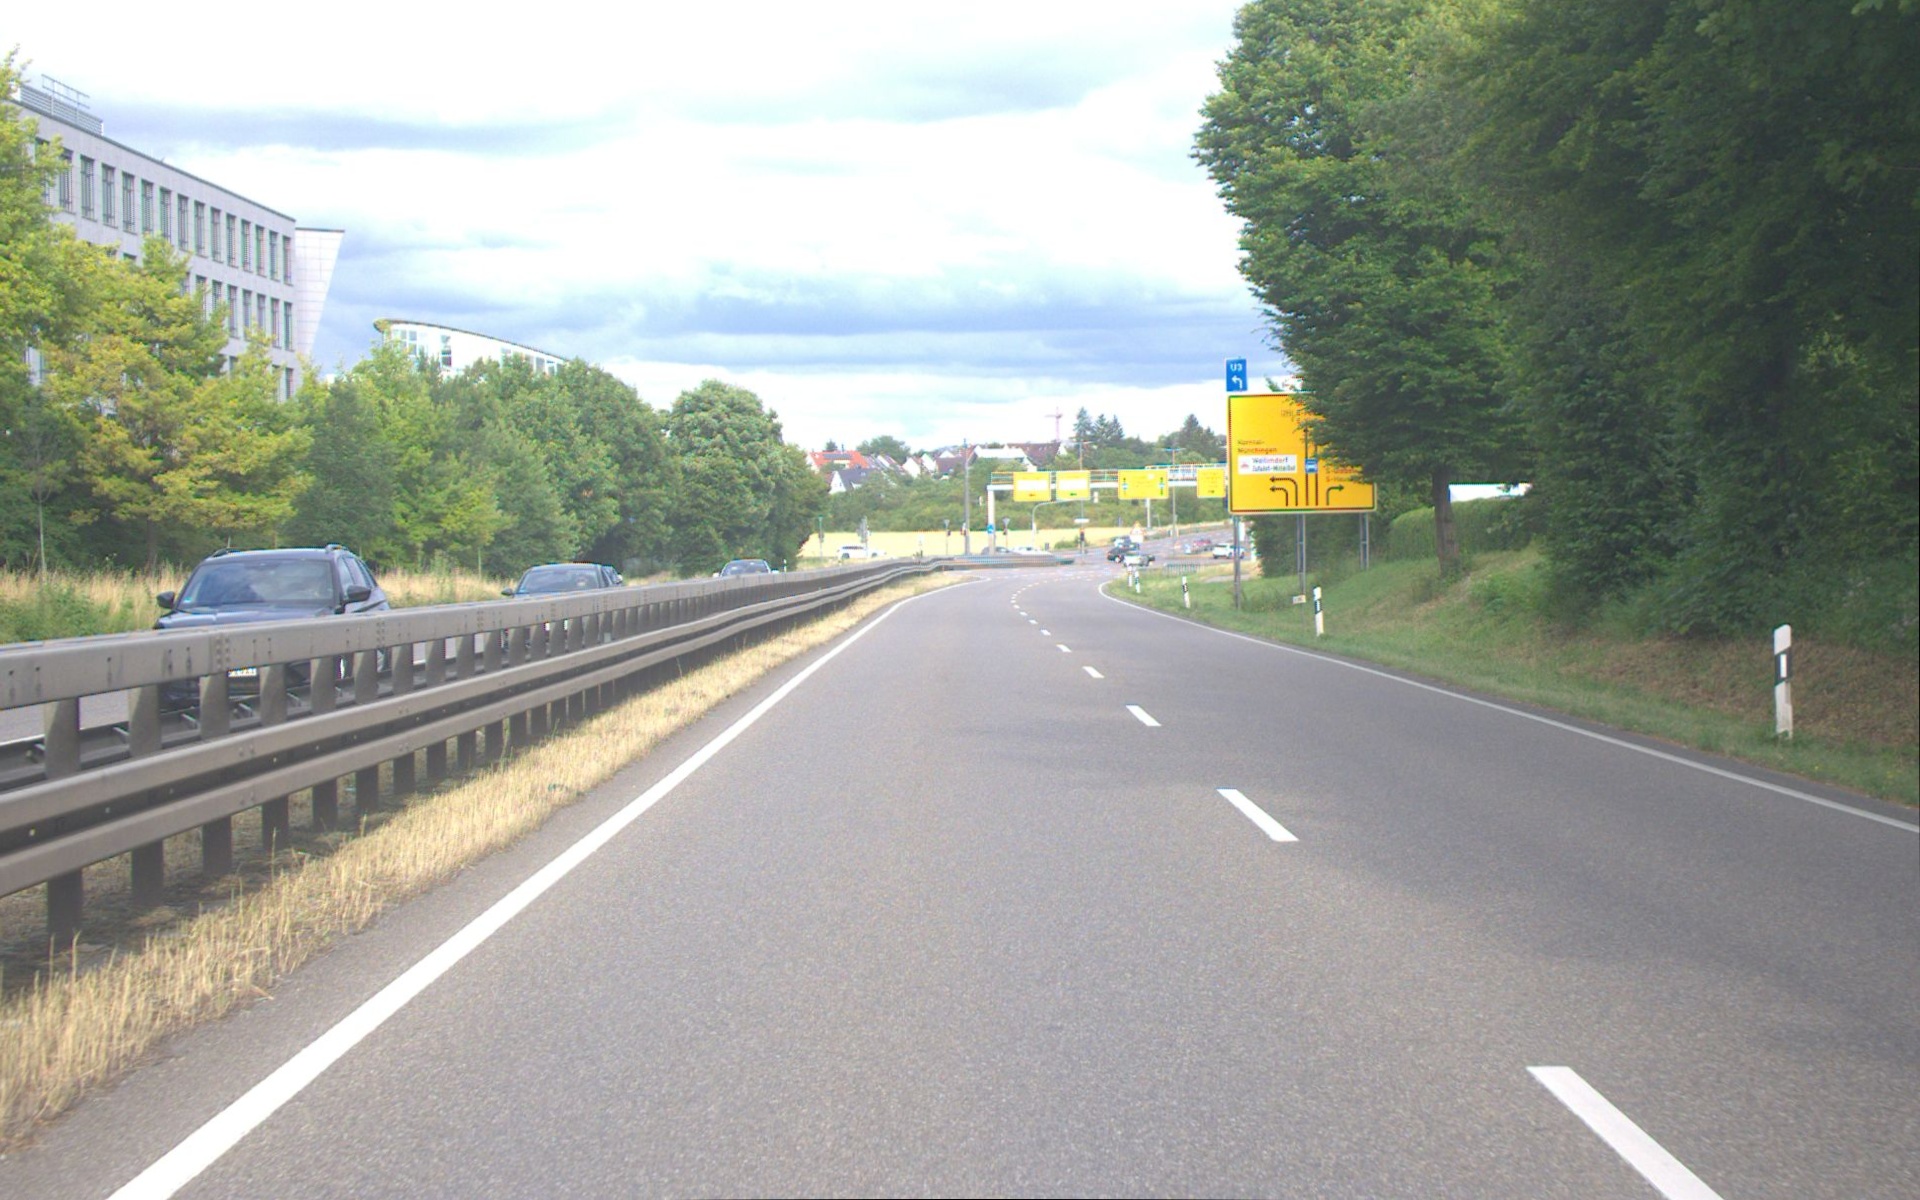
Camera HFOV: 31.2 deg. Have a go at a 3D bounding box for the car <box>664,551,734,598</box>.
[{"bbox_3d":[-7.989,-0.793,105.500,1.835,1.374,4.566,-1,1,0],"label":"car"}]

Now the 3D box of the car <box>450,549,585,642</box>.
[{"bbox_3d":[-7.527,-0.105,58.847,1.742,1.453,4.312,-3,1,-1],"label":"car"}]

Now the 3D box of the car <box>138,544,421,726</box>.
[{"bbox_3d":[-6.651,0.280,34.169,1.742,1.639,5.280,-1,1,0],"label":"car"}]
